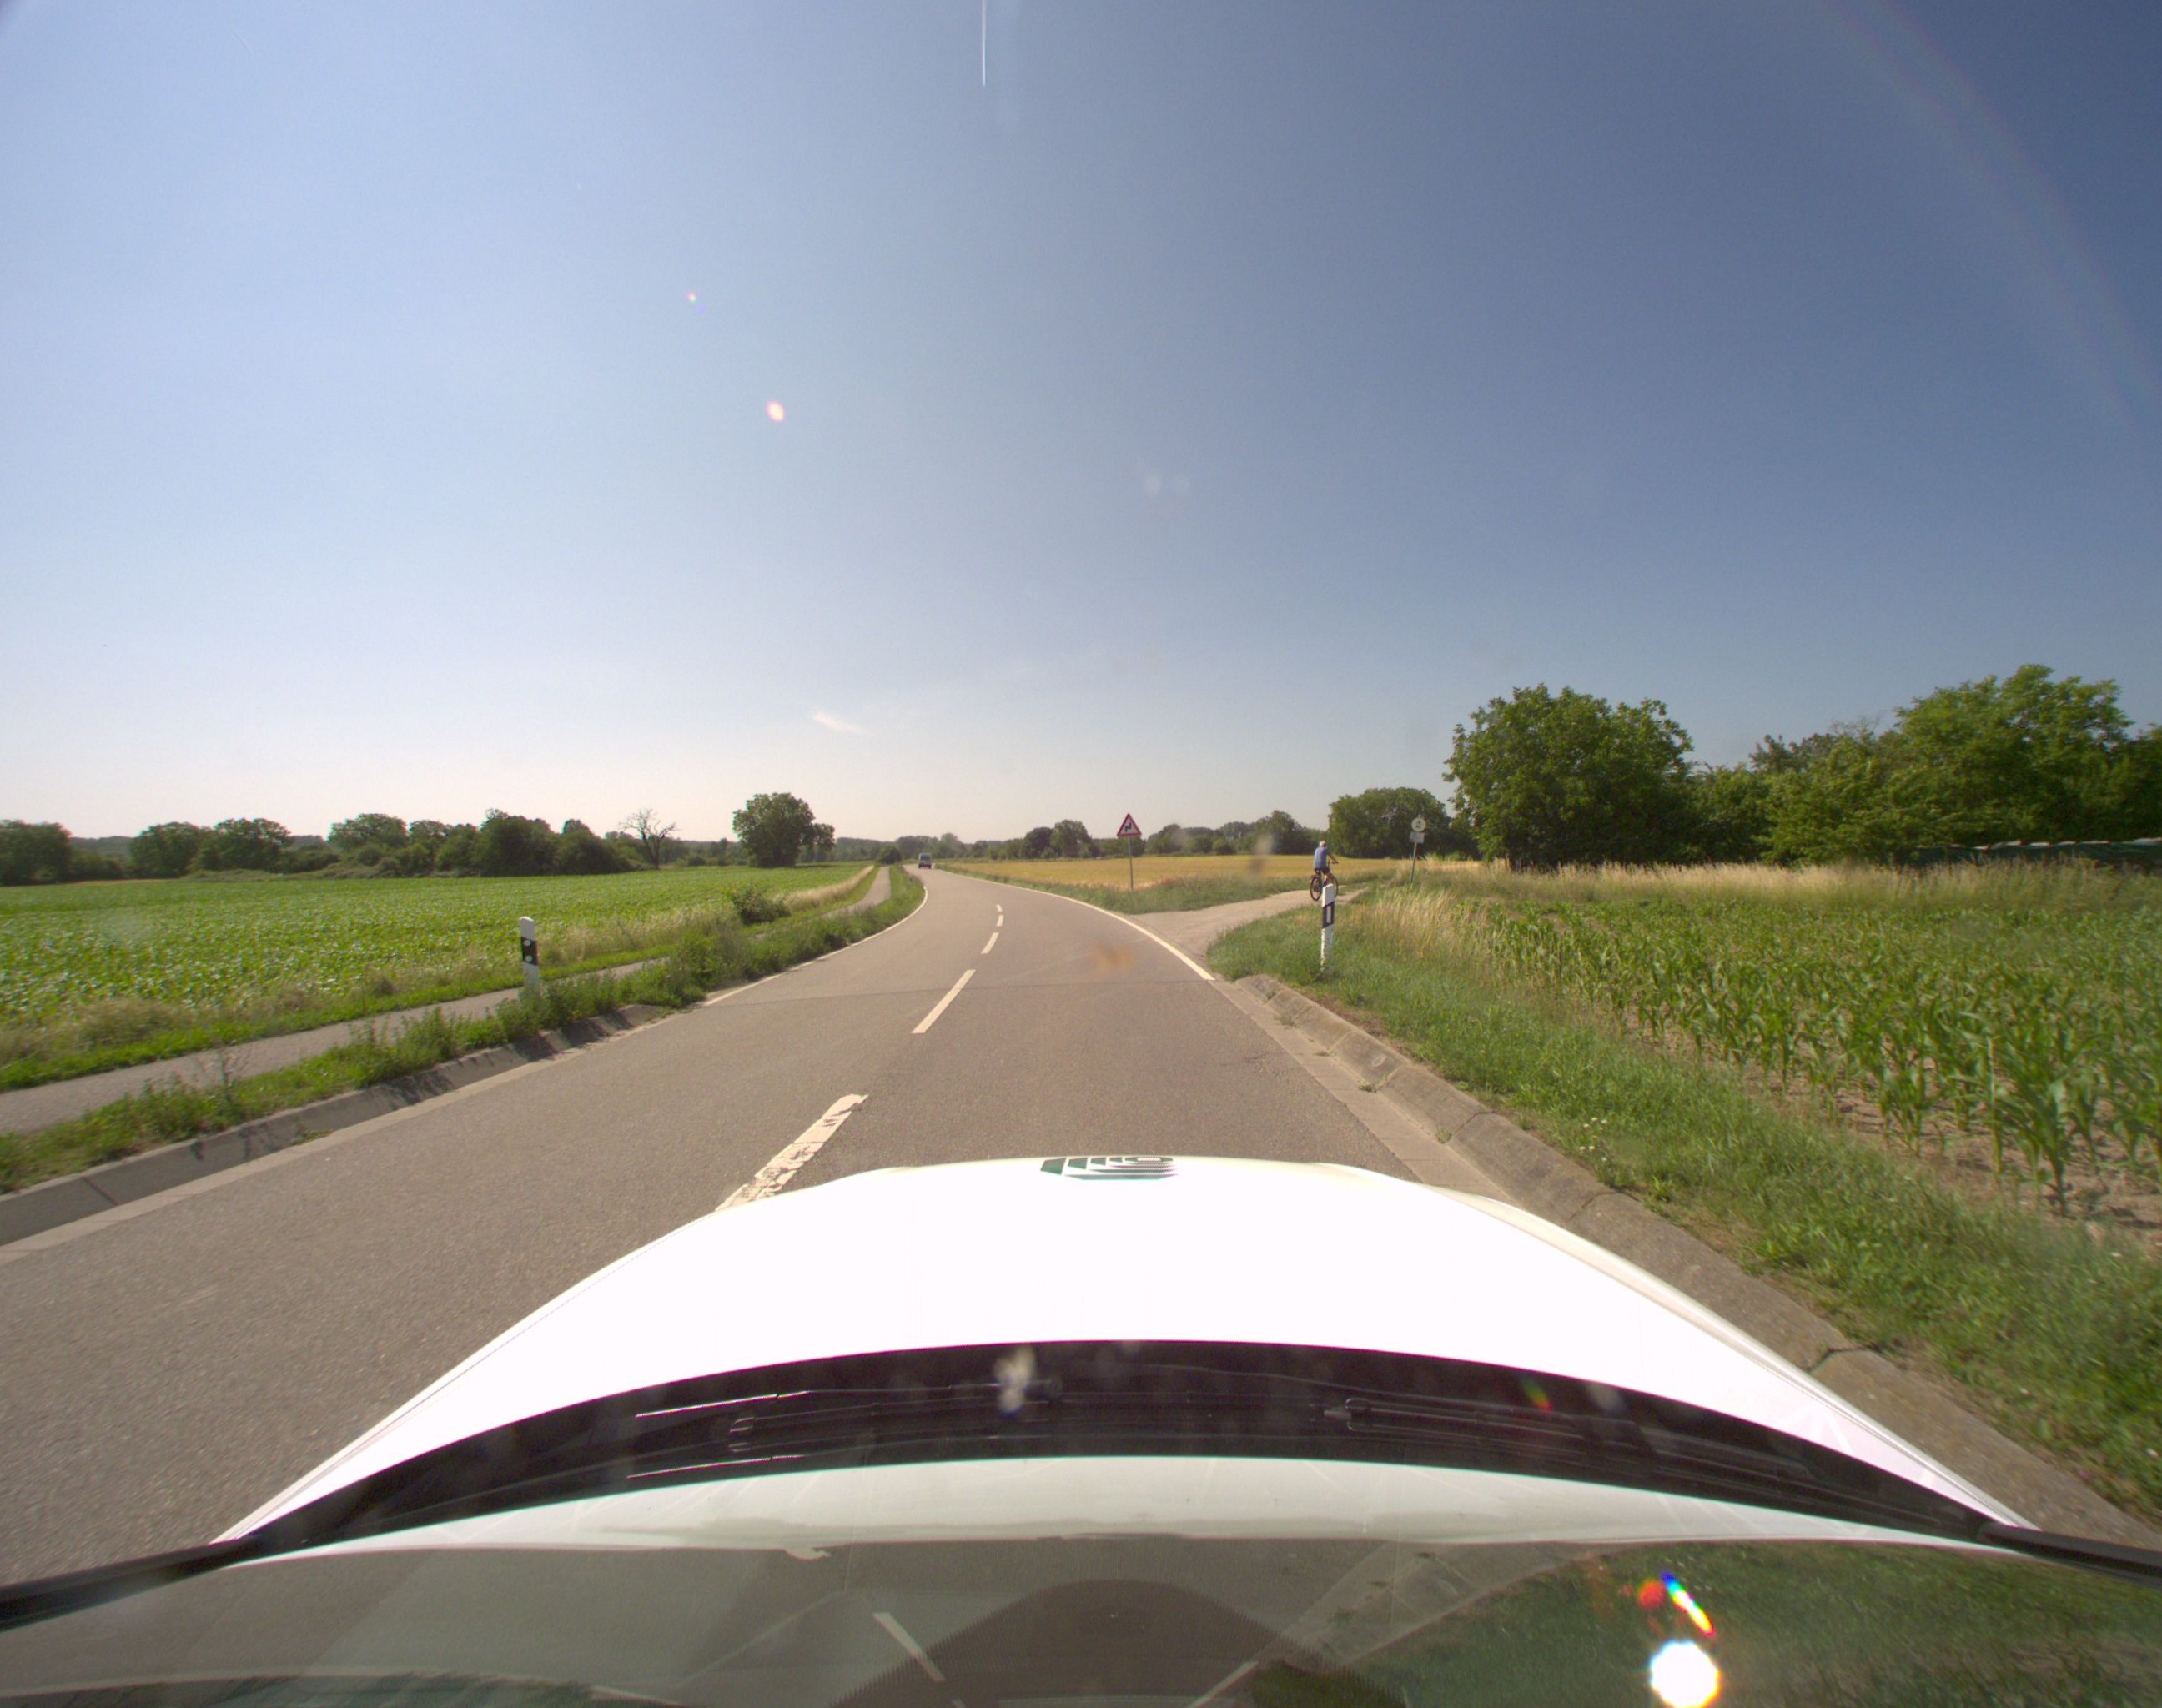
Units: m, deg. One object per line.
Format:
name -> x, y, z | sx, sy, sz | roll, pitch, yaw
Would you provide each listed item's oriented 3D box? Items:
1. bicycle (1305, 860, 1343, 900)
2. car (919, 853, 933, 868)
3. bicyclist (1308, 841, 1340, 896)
bicycle -> 7.219, 0.747, 24.159 | 0.515, 1.115, 1.780 | -2, -1, 35
car -> -25.380, 1.054, 133.251 | 2.106, 2.367, 5.661 | -2, 0, -13
bicyclist -> 7.212, 0.427, 24.164 | 0.666, 1.574, 0.740 | -2, -1, 35
